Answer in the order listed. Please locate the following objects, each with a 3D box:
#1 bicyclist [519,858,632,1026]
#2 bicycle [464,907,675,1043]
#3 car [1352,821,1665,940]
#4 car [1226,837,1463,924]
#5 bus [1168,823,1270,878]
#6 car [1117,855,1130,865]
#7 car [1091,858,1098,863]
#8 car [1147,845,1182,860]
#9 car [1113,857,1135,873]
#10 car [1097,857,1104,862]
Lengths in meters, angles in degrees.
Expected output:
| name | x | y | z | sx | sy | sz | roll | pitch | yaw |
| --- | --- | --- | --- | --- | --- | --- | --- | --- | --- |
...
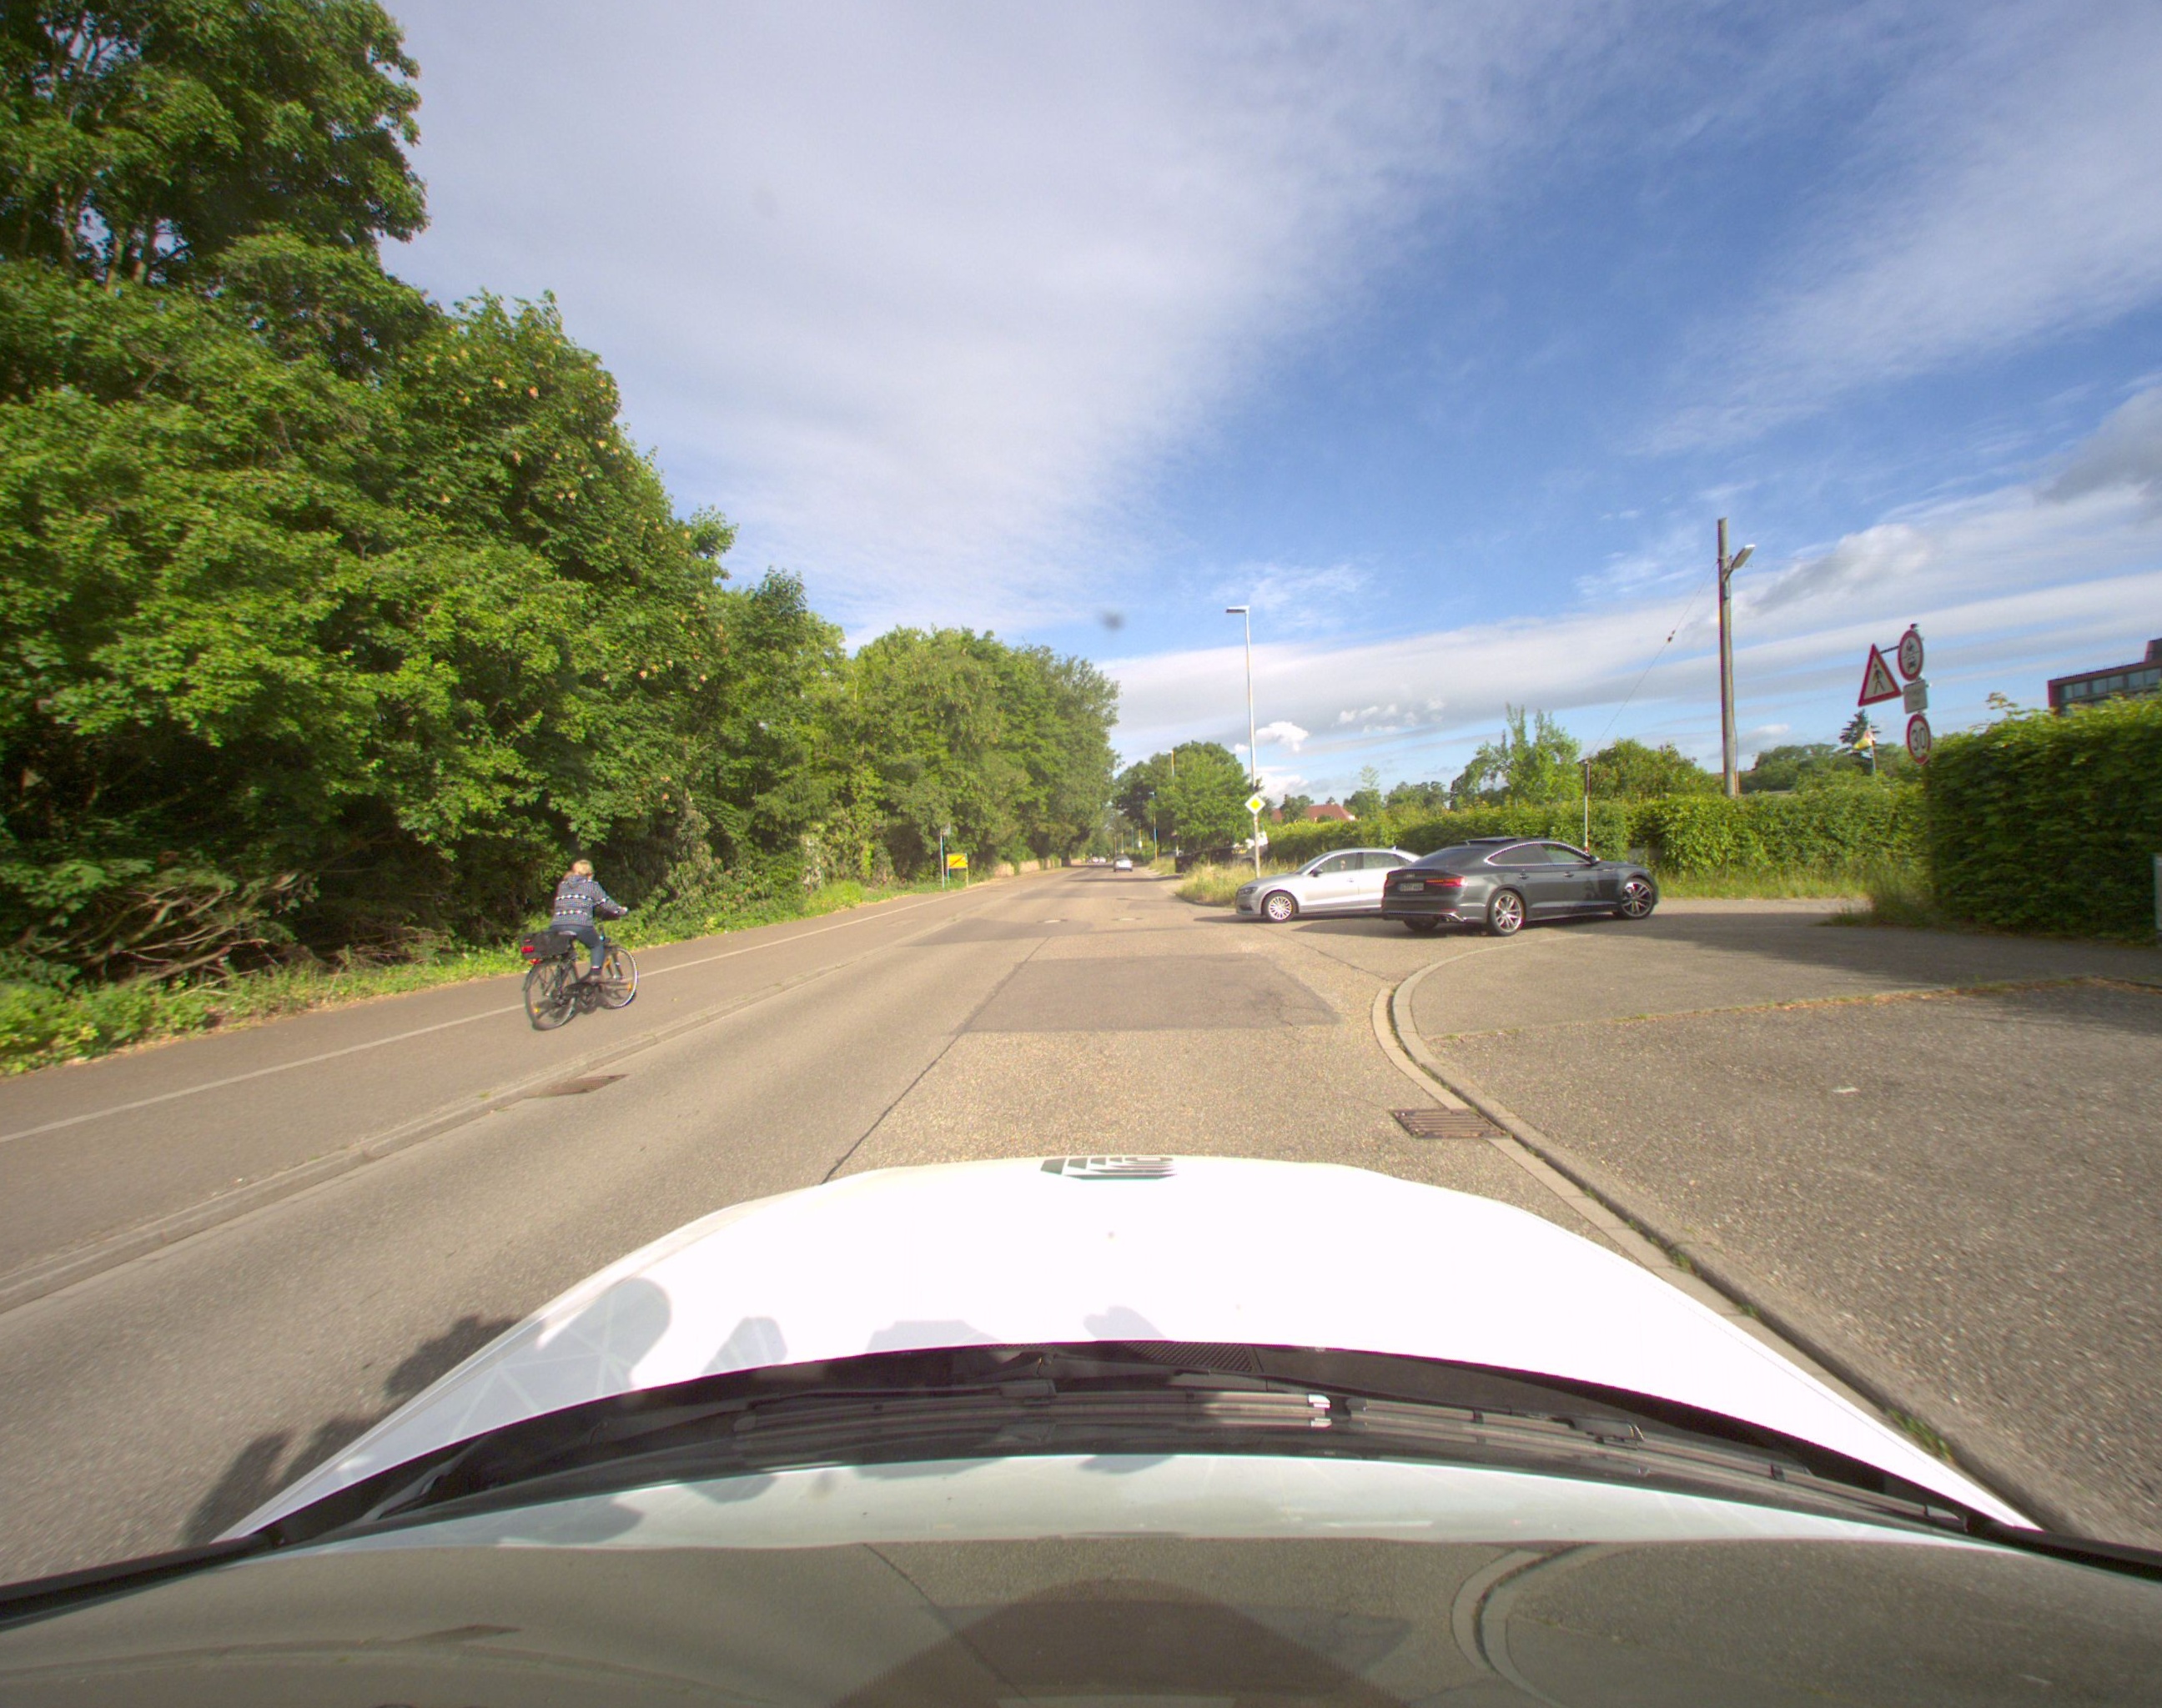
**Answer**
| name | x | y | z | sx | sy | sz | roll | pitch | yaw |
| --- | --- | --- | --- | --- | --- | --- | --- | --- | --- |
| bicyclist | -5.329 | 0.890 | 8.633 | 0.606 | 1.677 | 0.884 | -1 | 0 | 3 |
| bicycle | -5.316 | 1.194 | 8.708 | 0.659 | 1.097 | 2.350 | 0 | 0 | 3 |
| car | 6.685 | 0.344 | 12.779 | 4.339 | 1.434 | 1.958 | -3 | 0 | -22 |
| car | 5.222 | 0.532 | 16.716 | 4.336 | 1.443 | 1.937 | -3 | -1 | 9 |
| bus | 7.811 | -0.197 | 46.367 | 5.349 | 2.746 | 2.068 | -3 | 0 | -1 |
| car | 6.634 | 0.931 | 128.310 | 1.879 | 1.372 | 4.056 | -2 | 0 | 2 |
| car | 4.326 | 2.087 | 258.481 | 1.879 | 1.613 | 4.056 | -2 | 0 | 2 |
| car | 11.044 | -0.201 | 108.065 | 4.385 | 1.646 | 2.002 | -5 | -1 | 3 |
| car | 3.880 | 1.018 | 74.607 | 1.879 | 1.372 | 4.056 | -2 | 0 | 2 |
| car | 5.328 | 1.590 | 228.101 | 1.880 | 1.372 | 4.054 | -2 | 0 | 0 |
